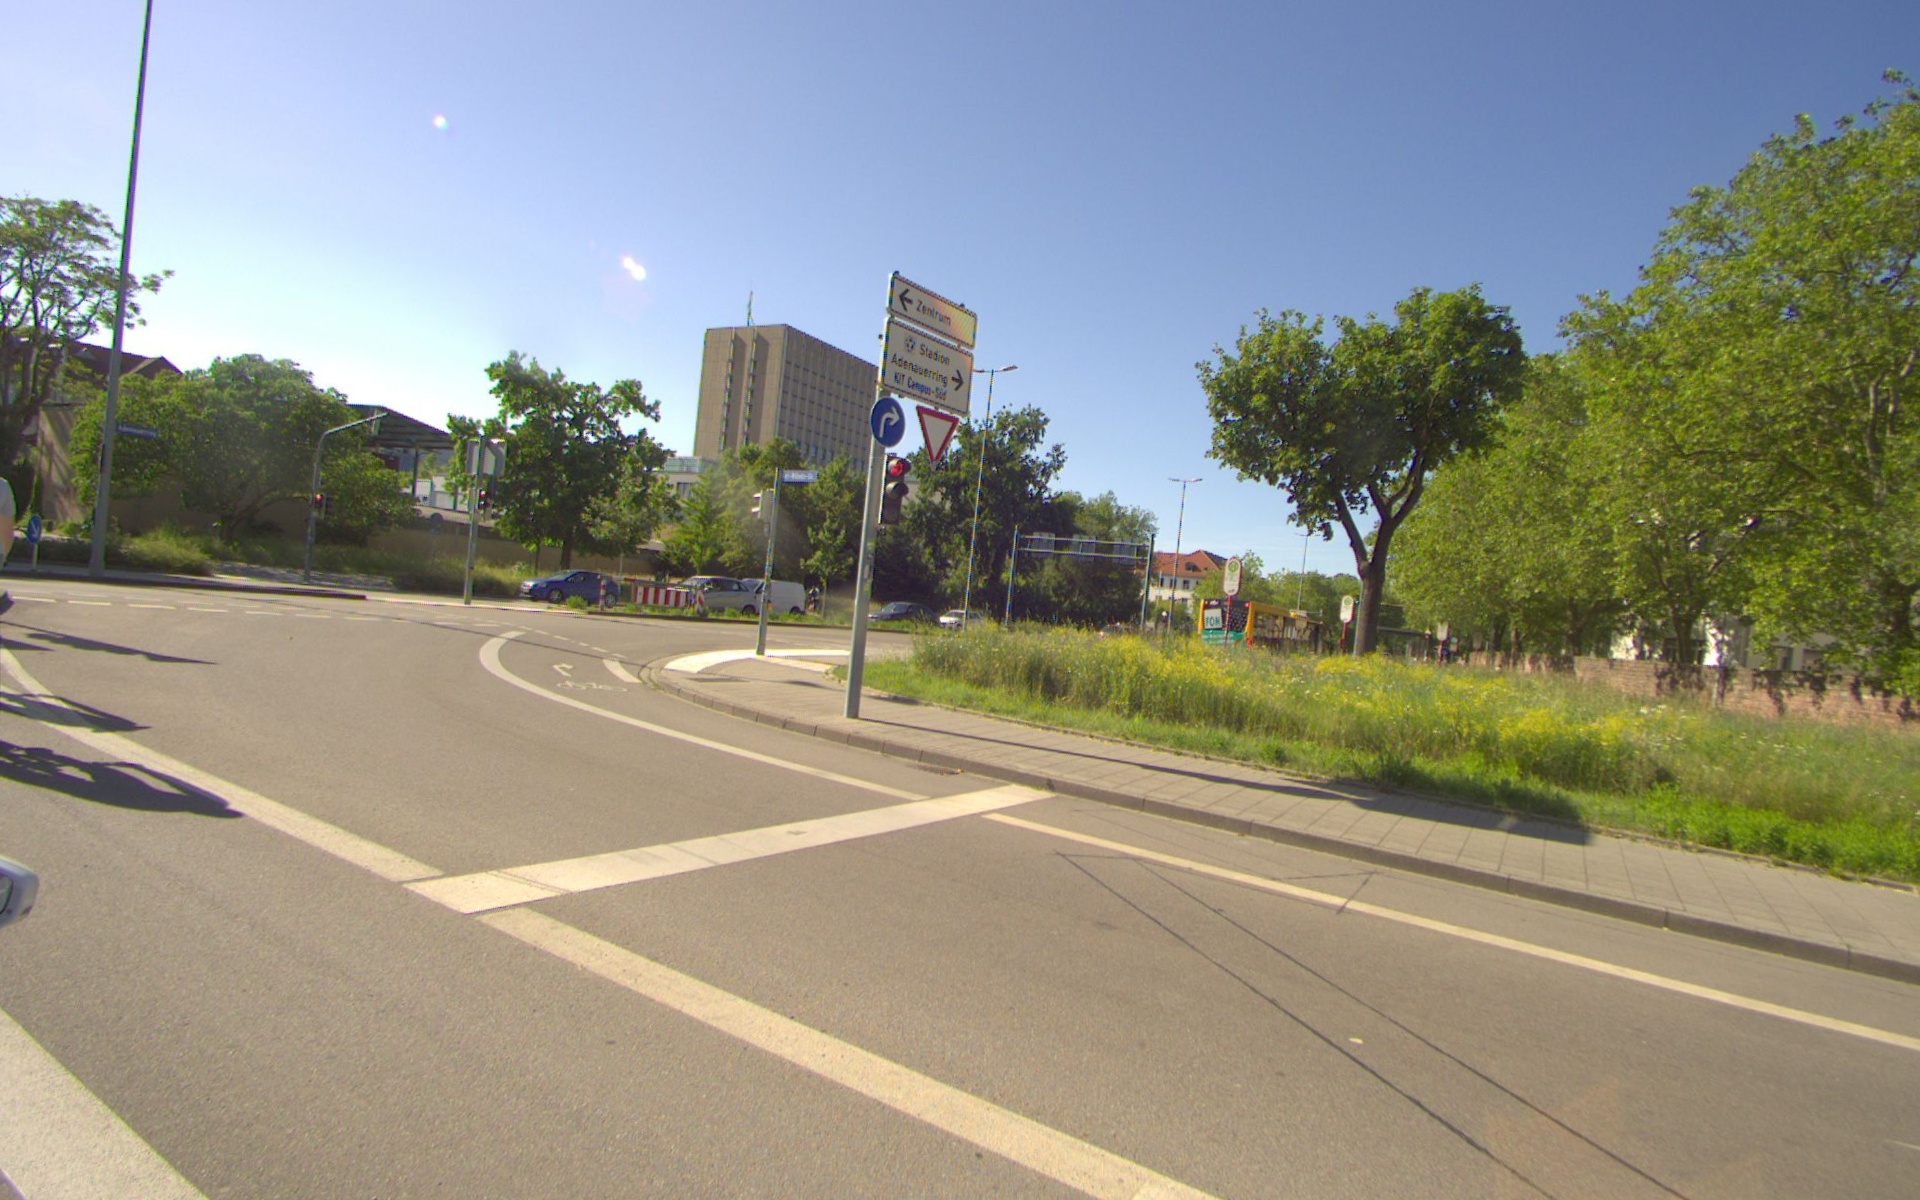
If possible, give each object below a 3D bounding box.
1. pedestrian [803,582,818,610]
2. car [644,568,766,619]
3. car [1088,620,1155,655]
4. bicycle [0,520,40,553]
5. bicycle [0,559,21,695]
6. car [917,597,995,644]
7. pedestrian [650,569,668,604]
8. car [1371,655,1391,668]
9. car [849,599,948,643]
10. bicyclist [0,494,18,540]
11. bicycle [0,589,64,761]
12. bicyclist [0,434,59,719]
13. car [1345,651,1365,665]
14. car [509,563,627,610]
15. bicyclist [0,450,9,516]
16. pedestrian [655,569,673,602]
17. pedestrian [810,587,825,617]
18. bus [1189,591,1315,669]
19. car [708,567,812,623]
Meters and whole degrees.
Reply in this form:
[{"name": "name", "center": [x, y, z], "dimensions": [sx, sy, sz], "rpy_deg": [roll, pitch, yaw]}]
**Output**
[{"name": "pedestrian", "center": [-9.467, -0.265, 63.744], "dimensions": [0.519, 1.716, 0.561], "rpy_deg": [7, 1, 35]}, {"name": "car", "center": [-9.431, -0.213, 37.436], "dimensions": [1.840, 1.426, 4.046], "rpy_deg": [6, 0, 38]}, {"name": "car", "center": [8.140, 1.914, 50.397], "dimensions": [1.814, 1.405, 4.062], "rpy_deg": [4, -2, 32]}, {"name": "bicycle", "center": [-31.400, -2.138, 32.726], "dimensions": [0.590, 0.976, 2.073], "rpy_deg": [7, 0, 40]}, {"name": "bicycle", "center": [-8.205, 0.089, 7.781], "dimensions": [1.935, 1.014, 0.661], "rpy_deg": [6, -1, 26]}, {"name": "car", "center": [-0.185, 1.249, 59.438], "dimensions": [1.969, 2.186, 4.783], "rpy_deg": [6, -2, 35]}, {"name": "pedestrian", "center": [-15.827, -0.708, 52.928], "dimensions": [0.519, 1.716, 0.561], "rpy_deg": [7, 1, 35]}, {"name": "car", "center": [52.092, 7.645, 124.435], "dimensions": [1.812, 1.405, 4.066], "rpy_deg": [4, -2, 27]}, {"name": "car", "center": [-2.804, 0.990, 46.955], "dimensions": [1.969, 1.604, 4.734], "rpy_deg": [6, 0, 35]}, {"name": "bicyclist", "center": [-31.242, -2.738, 32.576], "dimensions": [0.590, 1.447, 0.935], "rpy_deg": [7, 1, 41]}, {"name": "bicycle", "center": [-6.298, 0.361, 6.097], "dimensions": [1.946, 0.906, 0.741], "rpy_deg": [6, -2, 33]}, {"name": "bicyclist", "center": [-6.225, -0.194, 6.097], "dimensions": [1.000, 1.688, 0.752], "rpy_deg": [6, -1, 33]}, {"name": "car", "center": [48.541, 7.141, 123.582], "dimensions": [1.812, 1.405, 4.066], "rpy_deg": [4, -2, 27]}, {"name": "car", "center": [-16.069, -0.513, 41.378], "dimensions": [1.716, 1.453, 4.164], "rpy_deg": [7, 0, 36]}, {"name": "bicyclist", "center": [-8.140, -0.372, 7.786], "dimensions": [1.048, 1.759, 0.647], "rpy_deg": [7, -1, 26]}, {"name": "pedestrian", "center": [-16.023, -0.769, 54.439], "dimensions": [0.519, 1.716, 0.561], "rpy_deg": [7, 1, 35]}, {"name": "pedestrian", "center": [-9.009, 0.125, 63.425], "dimensions": [0.519, 1.801, 0.561], "rpy_deg": [7, 1, 35]}, {"name": "bus", "center": [14.244, 1.569, 48.349], "dimensions": [2.752, 2.662, 10.096], "rpy_deg": [6, -2, 33]}, {"name": "car", "center": [-9.935, -0.197, 50.352], "dimensions": [1.969, 2.131, 4.883], "rpy_deg": [6, -2, 36]}]
